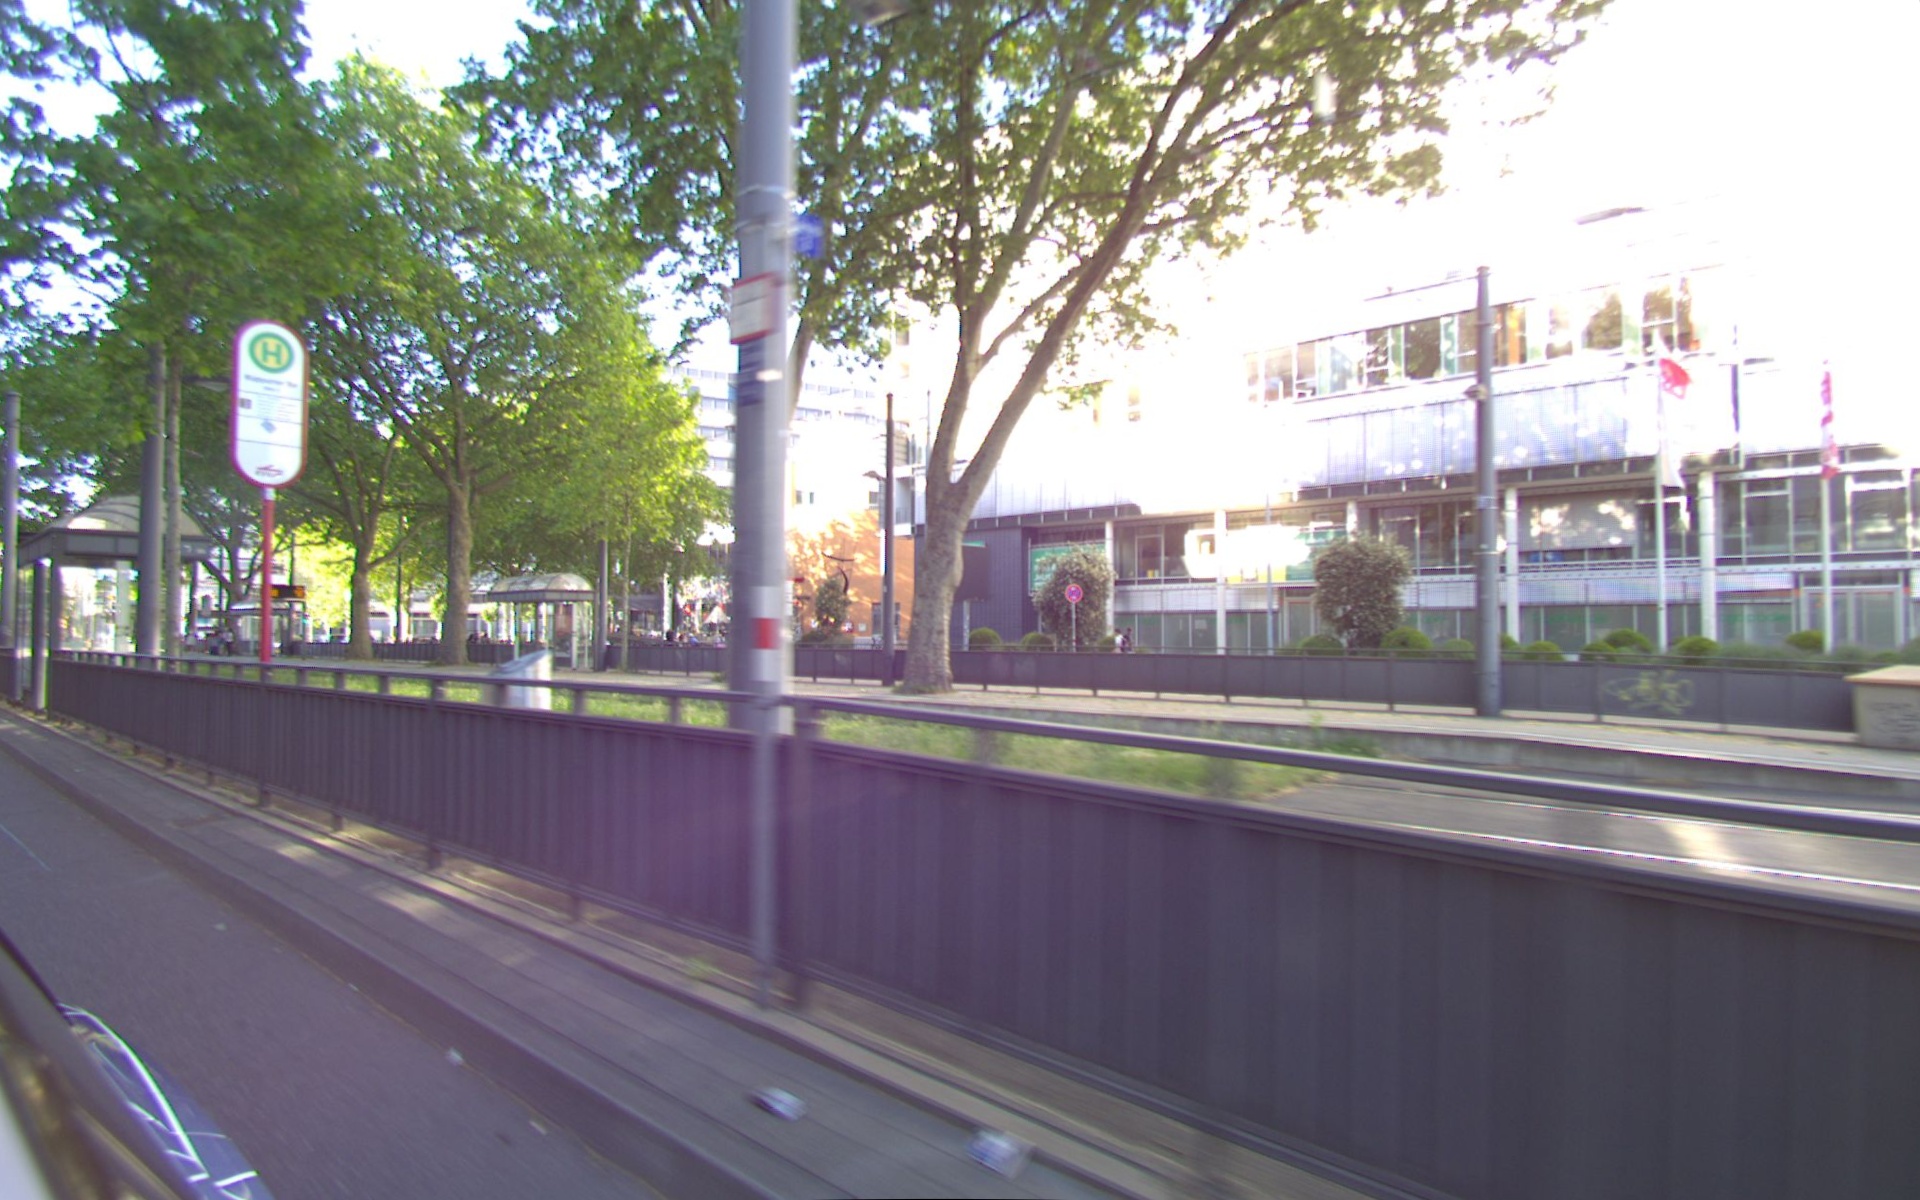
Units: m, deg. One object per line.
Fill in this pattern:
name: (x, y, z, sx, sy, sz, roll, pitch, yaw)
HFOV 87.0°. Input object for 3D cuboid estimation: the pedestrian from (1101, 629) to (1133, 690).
pedestrian: (5.324, 2.004, 34.266, 0.833, 1.991, 0.599, -3, -2, 39)

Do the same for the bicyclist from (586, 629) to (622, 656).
bicyclist: (-16.637, 1.983, 47.249, 1.372, 1.259, 0.994, -2, -2, 39)

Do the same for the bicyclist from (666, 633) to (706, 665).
bicyclist: (-11.460, 2.044, 42.378, 1.372, 1.259, 0.994, -2, -2, 39)

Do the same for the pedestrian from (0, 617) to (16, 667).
pedestrian: (-35.700, 1.576, 37.751, 0.638, 1.853, 0.640, -2, -3, 41)

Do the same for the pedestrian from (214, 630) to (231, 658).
pedestrian: (-39.873, 2.359, 54.719, 0.549, 1.509, 0.548, -2, -2, 29)

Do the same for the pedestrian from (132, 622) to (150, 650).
pedestrian: (-51.650, 2.264, 63.827, 0.697, 1.709, 0.678, -2, -2, 33)

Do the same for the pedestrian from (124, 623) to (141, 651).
pedestrian: (-52.380, 2.364, 64.083, 0.674, 1.767, 0.649, -2, -2, 33)

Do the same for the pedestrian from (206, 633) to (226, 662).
pedestrian: (-41.558, 2.646, 56.520, 0.667, 1.654, 0.662, -1, -2, 29)

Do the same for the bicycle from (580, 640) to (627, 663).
bicycle: (-16.640, 2.399, 47.190, 2.582, 1.004, 0.792, -2, -2, 39)

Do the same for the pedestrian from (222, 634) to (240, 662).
pedestrian: (-39.267, 2.587, 54.500, 0.605, 1.497, 0.565, -2, -2, 29)

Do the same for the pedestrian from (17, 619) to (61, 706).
pedestrian: (-20.484, 1.368, 22.503, 0.753, 1.886, 0.638, -2, -2, 42)

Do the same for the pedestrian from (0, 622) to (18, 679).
pedestrian: (-29.092, 1.528, 30.686, 0.863, 1.715, 0.721, -2, -2, 43)

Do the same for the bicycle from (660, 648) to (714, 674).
bicycle: (-11.428, 2.538, 42.329, 2.582, 1.004, 0.792, -2, -2, 39)

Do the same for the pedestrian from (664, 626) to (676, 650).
pedestrian: (-19.858, 2.587, 69.264, 0.571, 1.616, 0.580, 1, -3, -44)

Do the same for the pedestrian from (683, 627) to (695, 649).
pedestrian: (-20.153, 2.809, 75.259, 0.597, 1.616, 0.572, -2, -2, 40)

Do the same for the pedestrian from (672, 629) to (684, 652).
pedestrian: (-19.404, 2.789, 69.658, 0.571, 1.616, 0.598, 1, -3, -44)

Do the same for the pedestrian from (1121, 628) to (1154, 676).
pedestrian: (6.097, 1.772, 34.772, 0.767, 1.604, 0.896, -2, -3, 40)
